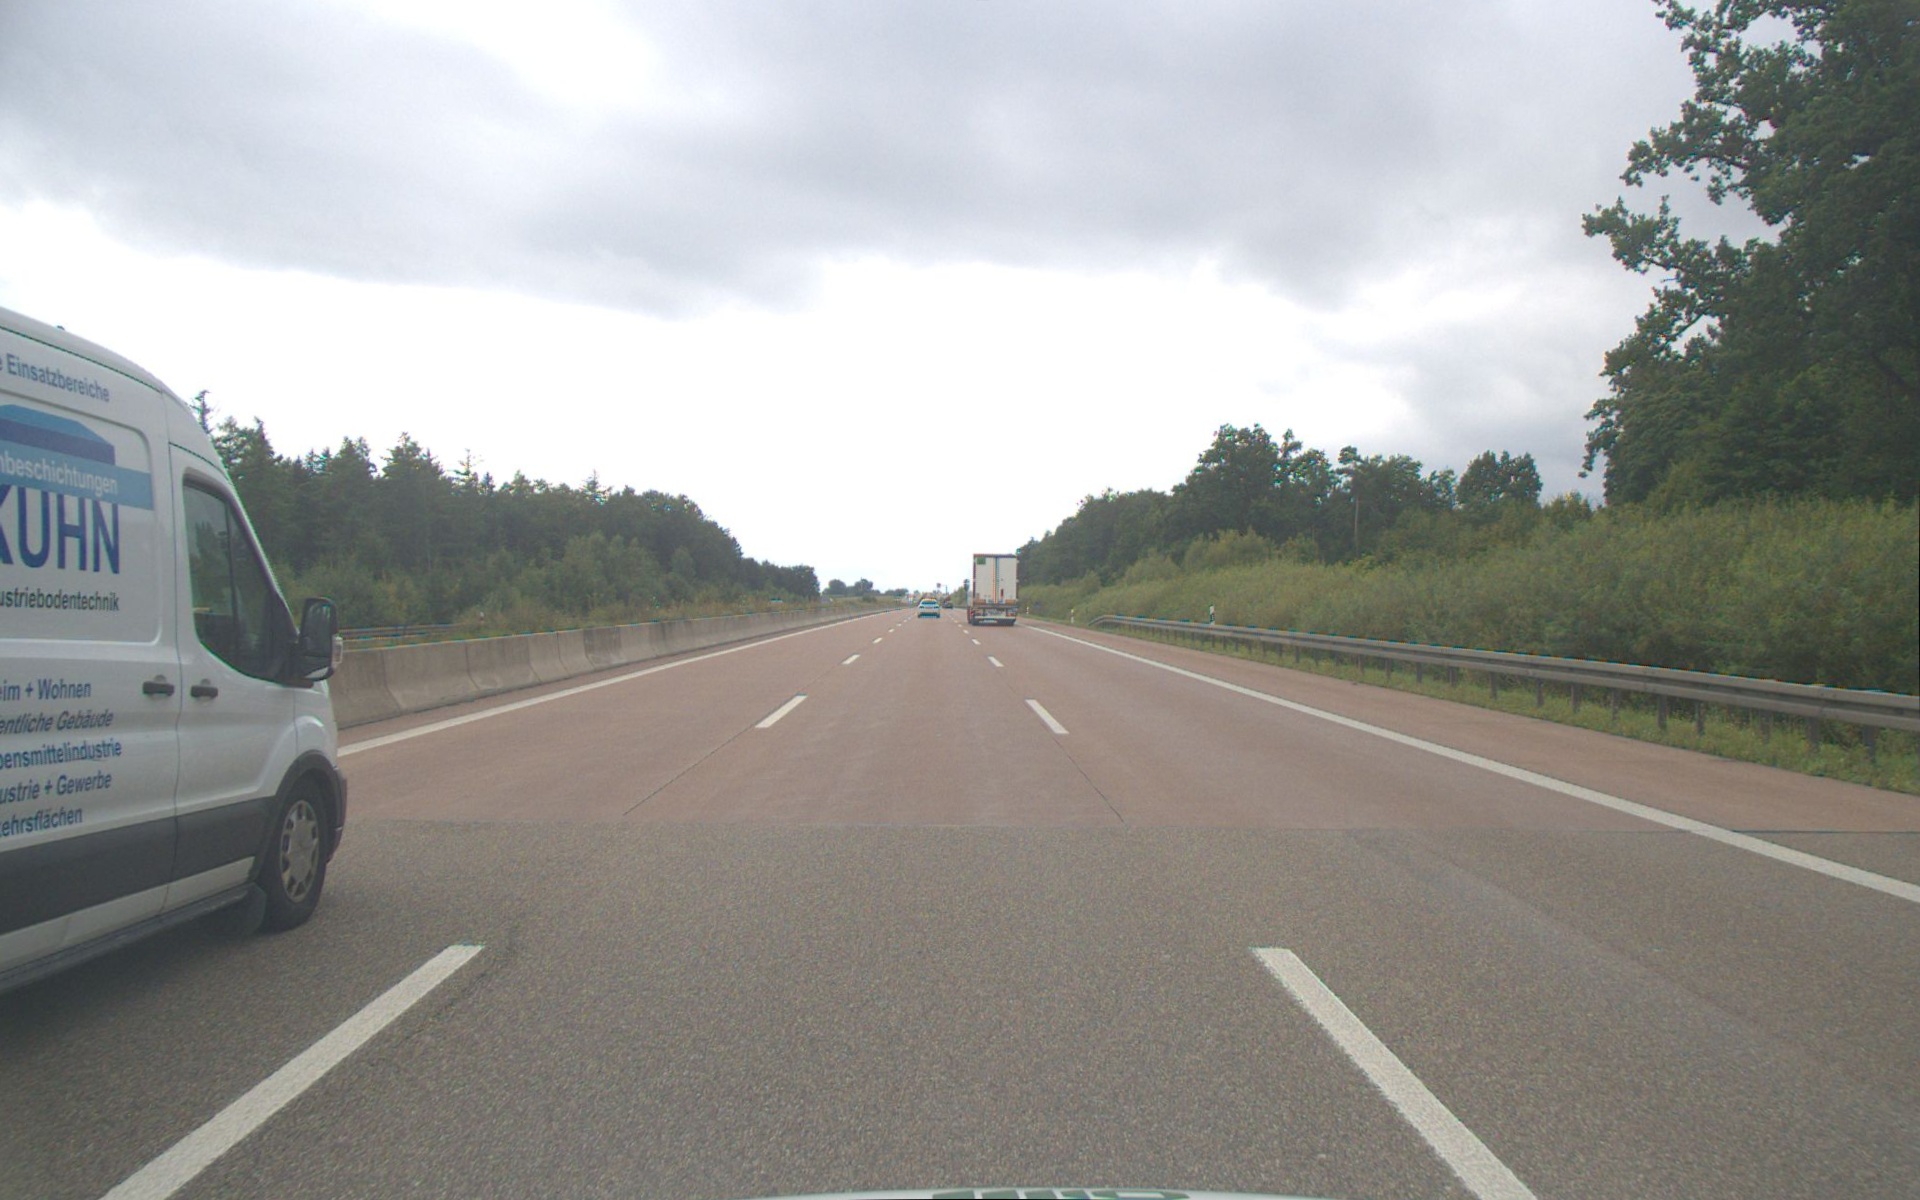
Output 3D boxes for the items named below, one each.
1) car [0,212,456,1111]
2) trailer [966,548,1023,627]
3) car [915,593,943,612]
[{"bbox_3d":[-3.786,0.169,5.574,2.094,2.551,7.130,0,0,-1],"label":"car"},{"bbox_3d":[1.948,-0.824,98.679,2.862,4.368,13.613,0,1,-1],"label":"trailer"},{"bbox_3d":[-2.519,0.170,136.968,2.119,1.476,4.719,2,0,1],"label":"car"}]
